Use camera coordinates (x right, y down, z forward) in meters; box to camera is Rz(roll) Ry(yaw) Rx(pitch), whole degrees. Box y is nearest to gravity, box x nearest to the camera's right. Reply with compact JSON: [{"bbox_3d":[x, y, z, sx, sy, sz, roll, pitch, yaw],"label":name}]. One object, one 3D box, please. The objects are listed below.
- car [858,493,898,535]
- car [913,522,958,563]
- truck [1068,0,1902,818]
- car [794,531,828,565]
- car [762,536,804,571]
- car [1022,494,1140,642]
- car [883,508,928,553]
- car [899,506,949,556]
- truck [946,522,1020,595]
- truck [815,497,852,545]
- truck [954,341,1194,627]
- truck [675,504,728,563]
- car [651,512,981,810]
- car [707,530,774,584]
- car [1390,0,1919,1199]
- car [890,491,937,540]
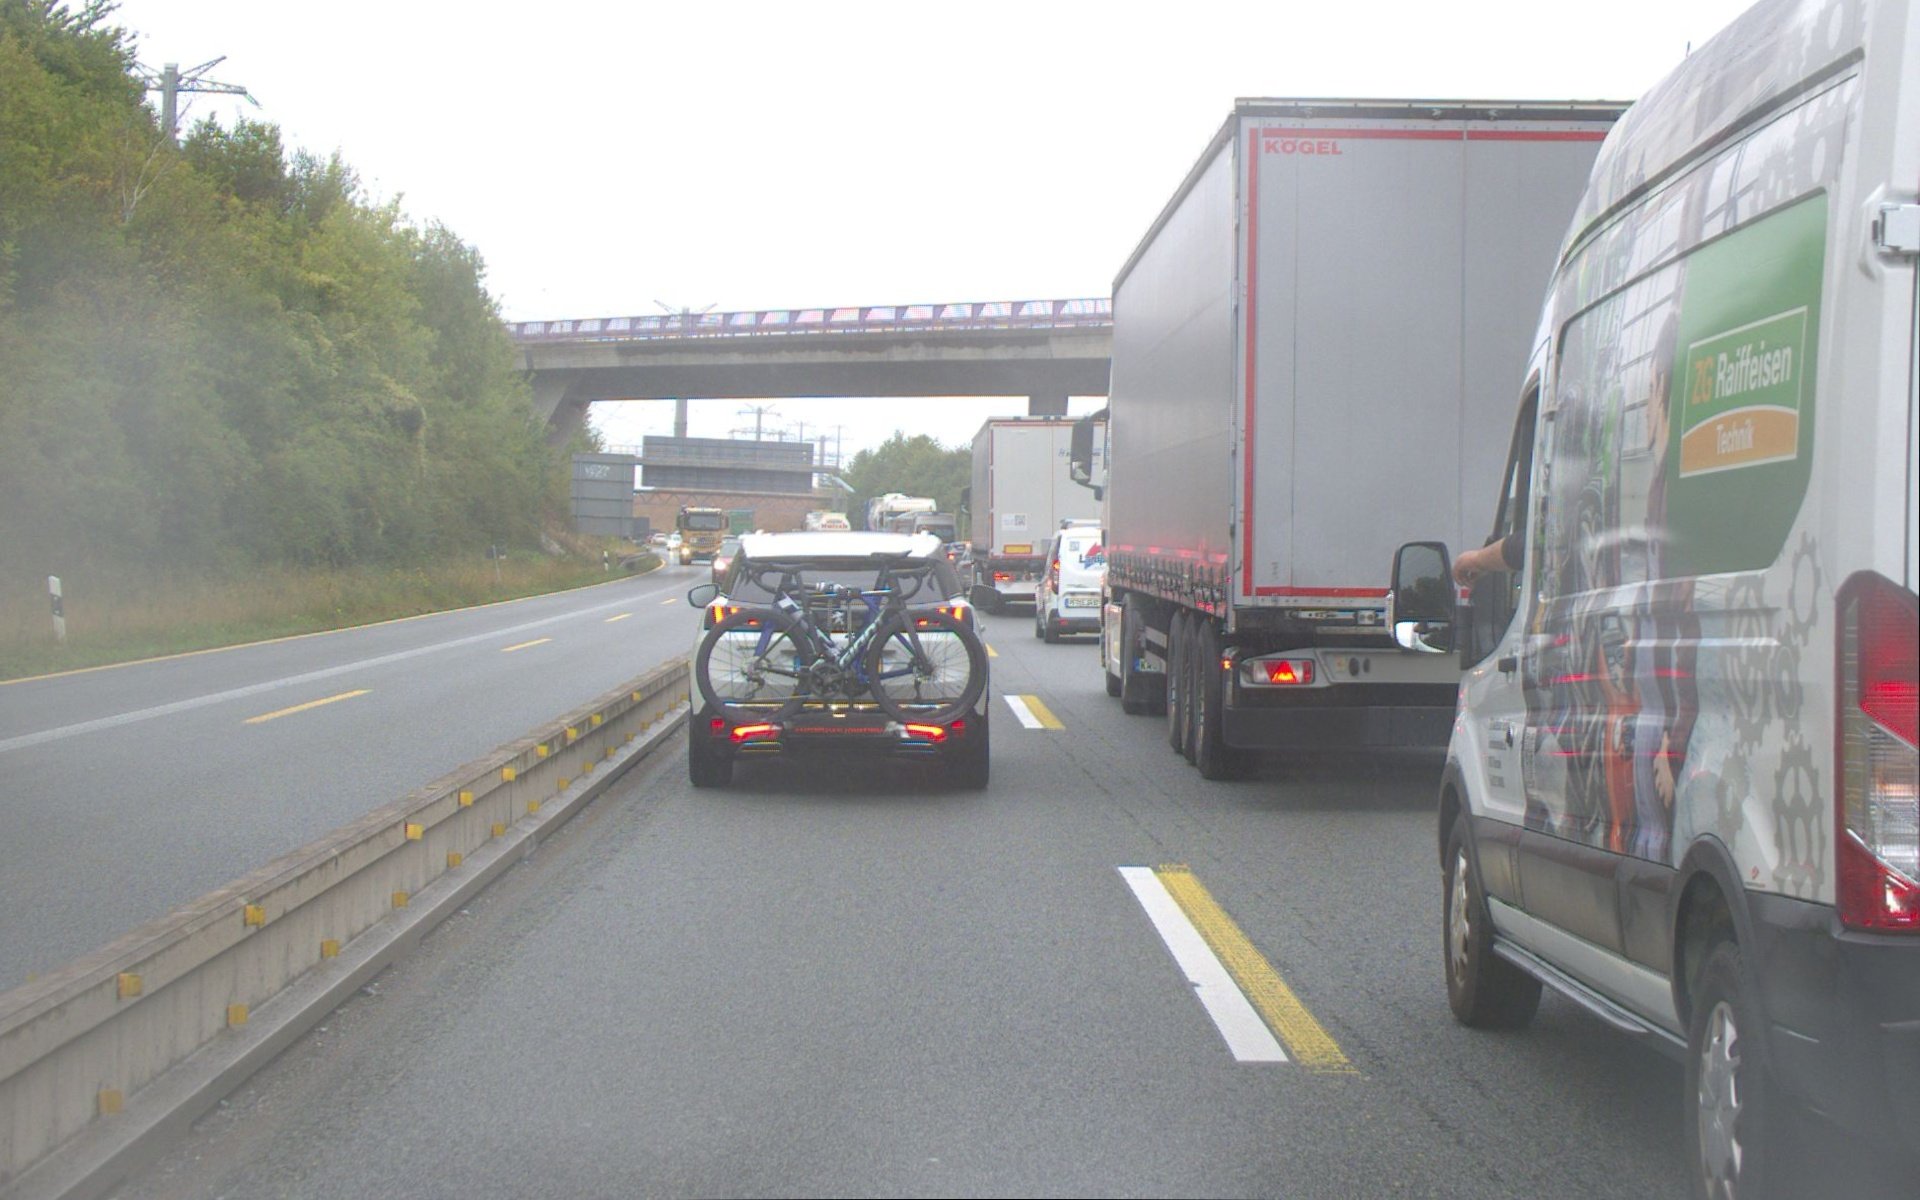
[{"bbox_3d":[-4.281,-4.473,179.744,1.993,2.119,4.527,1,1,-1],"label":"car"},{"bbox_3d":[-0.917,-2.121,128.248,1.638,1.492,3.666,1,1,-1],"label":"car"},{"bbox_3d":[3.186,-1.776,28.927,3.979,5.654,20.376,1,1,0],"label":"truck"},{"bbox_3d":[-8.209,-2.837,189.079,1.810,1.817,4.636,1,1,-2],"label":"car"},{"bbox_3d":[-8.617,-2.259,167.617,1.810,1.627,4.118,1,1,0],"label":"car"},{"bbox_3d":[1.830,-0.493,53.213,1.670,2.173,4.535,1,1,0],"label":"car"},{"bbox_3d":[-2.440,-3.110,154.534,1.993,2.007,4.000,1,1,-1],"label":"car"},{"bbox_3d":[-1.465,-2.810,140.811,1.993,2.007,4.000,1,1,-1],"label":"car"},{"bbox_3d":[0.620,-1.163,97.015,1.993,2.007,4.000,1,1,-1],"label":"truck"},{"bbox_3d":[-9.163,-5.730,250.430,2.535,3.341,12.051,1,1,-2],"label":"truck"},{"bbox_3d":[2.346,-2.437,79.003,4.743,5.654,20.376,1,1,0],"label":"truck"},{"bbox_3d":[-15.105,-3.844,201.442,2.535,3.341,12.051,1,1,-2],"label":"truck"},{"bbox_3d":[-0.783,0.310,21.357,1.810,1.632,4.635,1,1,0],"label":"car"},{"bbox_3d":[-6.570,-1.292,103.083,1.794,1.550,4.000,1,1,-1],"label":"car"},{"bbox_3d":[2.537,-0.023,8.681,2.144,2.667,6.117,1,1,0],"label":"car"},{"bbox_3d":[-2.263,-4.123,167.612,2.239,2.299,4.572,1,1,-1],"label":"car"}]
